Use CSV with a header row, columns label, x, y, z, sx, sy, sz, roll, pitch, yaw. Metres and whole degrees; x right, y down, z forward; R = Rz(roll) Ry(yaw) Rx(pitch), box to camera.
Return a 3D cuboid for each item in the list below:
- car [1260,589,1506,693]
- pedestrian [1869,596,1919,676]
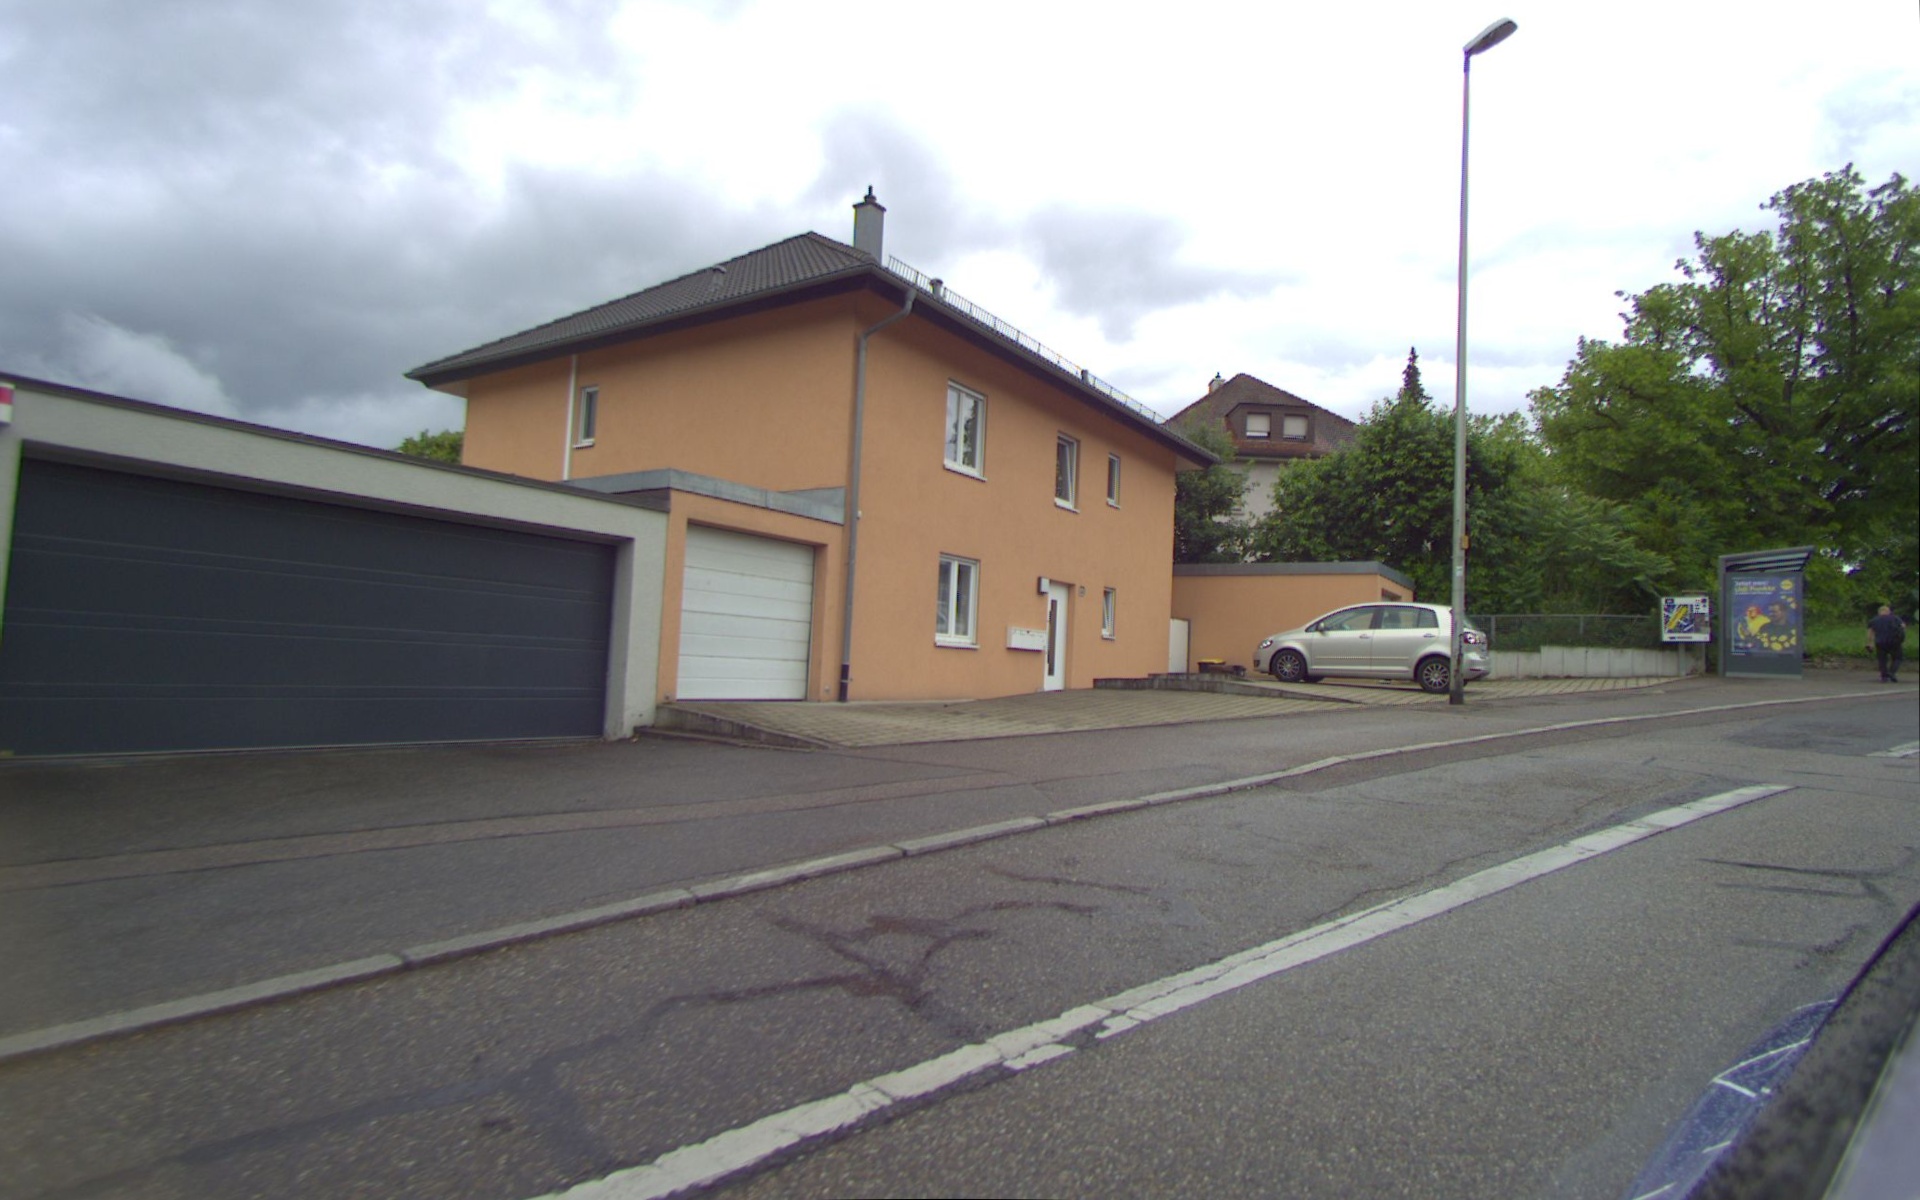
label,x,y,z,sx,sy,sz,roll,pitch,yaw
car,7.739,0.684,18.639,3.848,1.585,1.704,3,0,37
pedestrian,20.464,0.776,22.038,1.079,1.676,0.926,2,-1,-44
